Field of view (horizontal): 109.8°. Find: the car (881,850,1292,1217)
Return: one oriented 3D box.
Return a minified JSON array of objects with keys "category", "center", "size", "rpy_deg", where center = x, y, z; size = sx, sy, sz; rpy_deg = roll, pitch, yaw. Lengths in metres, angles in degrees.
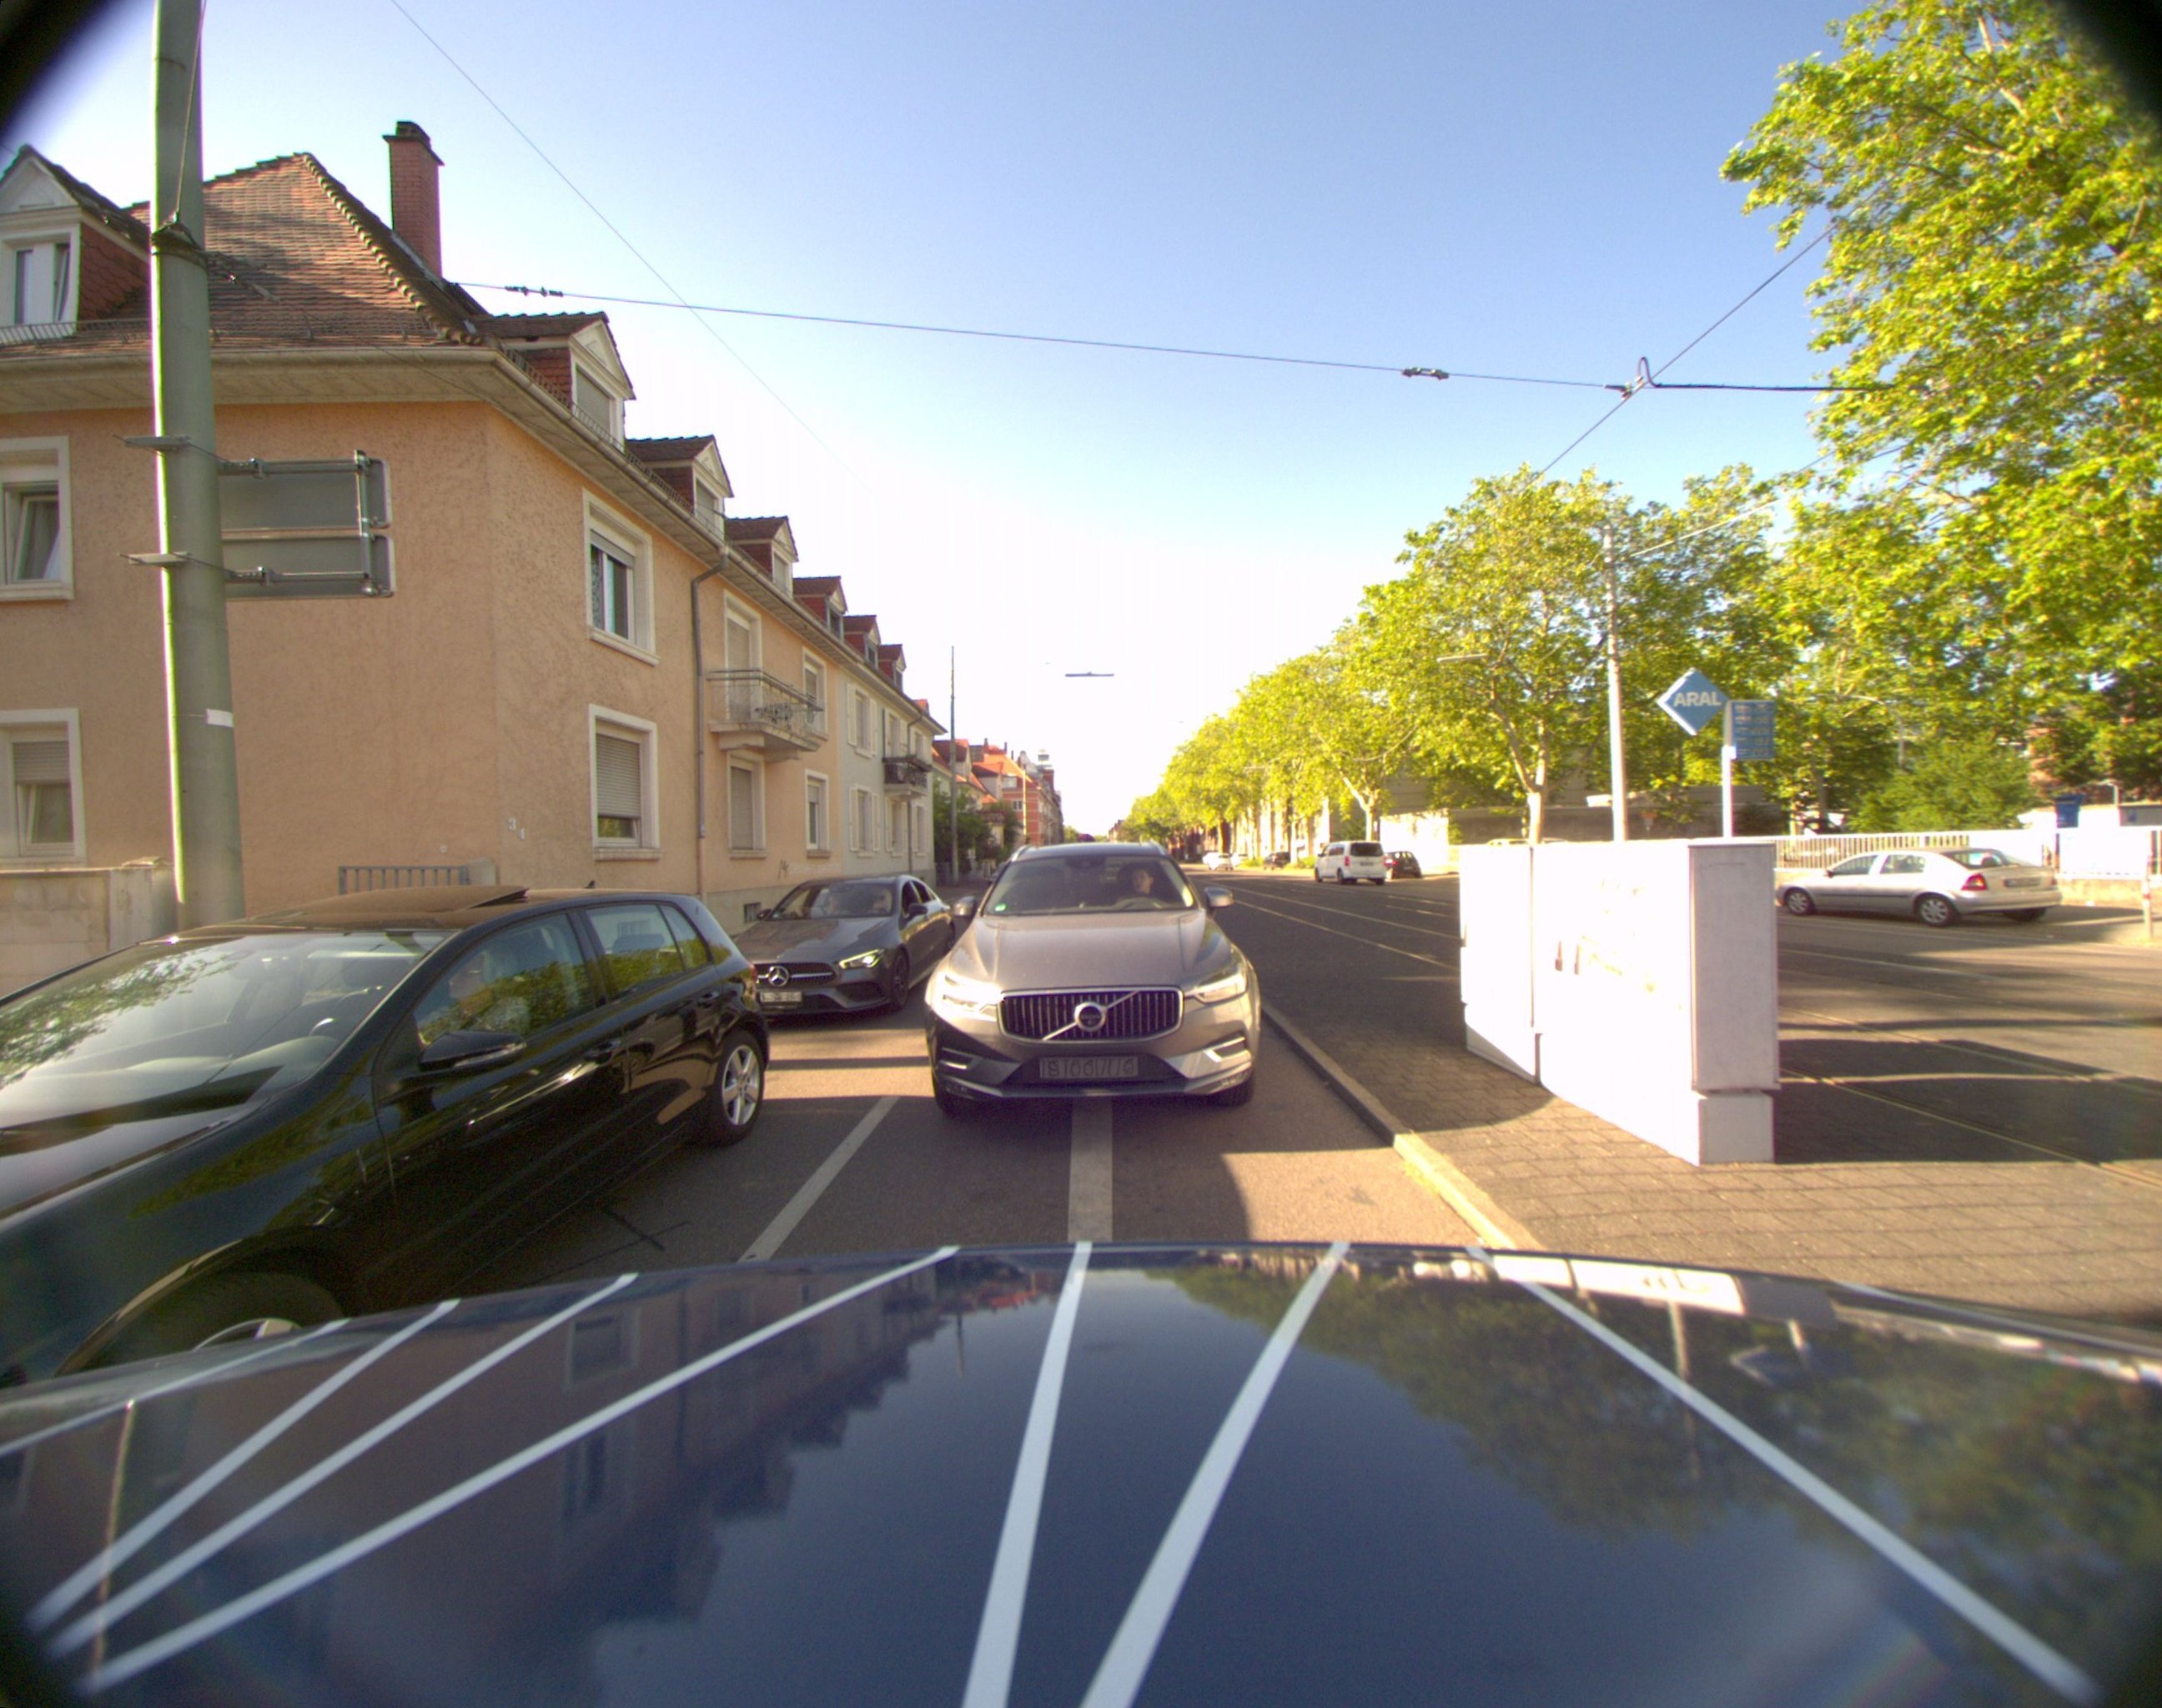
[{"category":"car","center":[0.033,0.852,6.028],"size":[1.912,1.666,4.763],"rpy_deg":[-2,1,0]}]

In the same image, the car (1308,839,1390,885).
[{"category":"car","center":[11.946,0.393,34.230],"size":[1.887,1.863,5.115],"rpy_deg":[-2,-1,1]}]

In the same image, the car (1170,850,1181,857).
[{"category":"car","center":[18.580,-0.066,149.610],"size":[1.700,1.401,3.999],"rpy_deg":[-1,1,1]}]

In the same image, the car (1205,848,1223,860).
[{"category":"car","center":[17.656,0.014,100.779],"size":[1.700,1.548,3.999],"rpy_deg":[-1,1,1]}]

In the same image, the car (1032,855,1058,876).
[{"category":"car","center":[-2.834,0.888,60.584],"size":[1.841,1.449,3.999],"rpy_deg":[-2,1,1]}]

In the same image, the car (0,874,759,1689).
[{"category":"car","center":[-2.880,0.857,2.606],"size":[1.733,1.499,4.051],"rpy_deg":[-2,-1,1]}]

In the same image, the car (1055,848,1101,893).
[{"category":"car","center":[-0.110,0.675,34.301],"size":[1.866,1.794,4.778],"rpy_deg":[-2,1,1]}]

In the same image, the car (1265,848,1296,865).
[{"category":"car","center":[17.278,0.230,65.909],"size":[1.700,1.401,3.999],"rpy_deg":[-1,1,1]}]

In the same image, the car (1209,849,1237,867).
[{"category":"car","center":[12.716,0.359,68.318],"size":[1.764,1.487,3.999],"rpy_deg":[-2,1,1]}]

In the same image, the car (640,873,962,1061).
[{"category":"car","center":[-2.793,1.047,8.864],"size":[1.911,1.411,4.492],"rpy_deg":[-2,1,2]}]

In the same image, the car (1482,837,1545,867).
[{"category":"car","center":[21.743,-0.112,38.307],"size":[1.545,1.412,3.151],"rpy_deg":[-2,1,4]}]

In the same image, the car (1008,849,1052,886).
[{"category":"car","center":[-2.888,0.703,44.434],"size":[1.937,1.888,7.210],"rpy_deg":[-2,1,1]}]

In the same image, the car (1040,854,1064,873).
[{"category":"car","center":[-2.538,0.806,66.993],"size":[1.841,1.449,3.999],"rpy_deg":[-2,1,1]}]

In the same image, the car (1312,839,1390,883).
[{"category":"car","center":[11.953,0.261,33.961],"size":[1.850,1.835,4.394],"rpy_deg":[-1,1,-1]}]

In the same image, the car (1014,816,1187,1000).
[{"category":"car","center":[0.232,0.595,11.117],"size":[1.912,2.048,4.763],"rpy_deg":[-2,1,0]}]

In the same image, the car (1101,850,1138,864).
[{"category":"car","center":[4.425,0.318,86.925],"size":[1.846,1.449,3.989],"rpy_deg":[-3,1,-44]}]

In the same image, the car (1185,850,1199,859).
[{"category":"car","center":[18.324,0.031,125.556],"size":[1.700,1.401,3.999],"rpy_deg":[-1,1,1]}]

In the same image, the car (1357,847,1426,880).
[{"category":"car","center":[16.758,0.471,41.270],"size":[1.753,1.514,4.434],"rpy_deg":[-5,1,-1]}]

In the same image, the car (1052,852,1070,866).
[{"category":"car","center":[-2.190,0.588,85.431],"size":[1.841,1.449,3.999],"rpy_deg":[-2,1,1]}]

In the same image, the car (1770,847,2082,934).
[{"category":"car","center":[16.232,0.605,14.964],"size":[1.731,1.412,3.999],"rpy_deg":[-2,1,1]}]

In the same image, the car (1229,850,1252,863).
[{"category":"car","center":[17.509,0.255,83.517],"size":[1.700,1.401,3.999],"rpy_deg":[-1,1,1]}]

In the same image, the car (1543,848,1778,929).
[{"category":"car","center":[11.355,0.587,15.306],"size":[1.700,1.412,3.999],"rpy_deg":[0,1,1]}]

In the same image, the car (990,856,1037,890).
[{"category":"car","center":[-3.250,0.895,37.094],"size":[1.841,1.449,3.999],"rpy_deg":[-2,1,1]}]

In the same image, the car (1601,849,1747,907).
[{"category":"car","center":[16.393,0.606,21.194],"size":[1.546,1.412,3.254],"rpy_deg":[-2,1,1]}]
